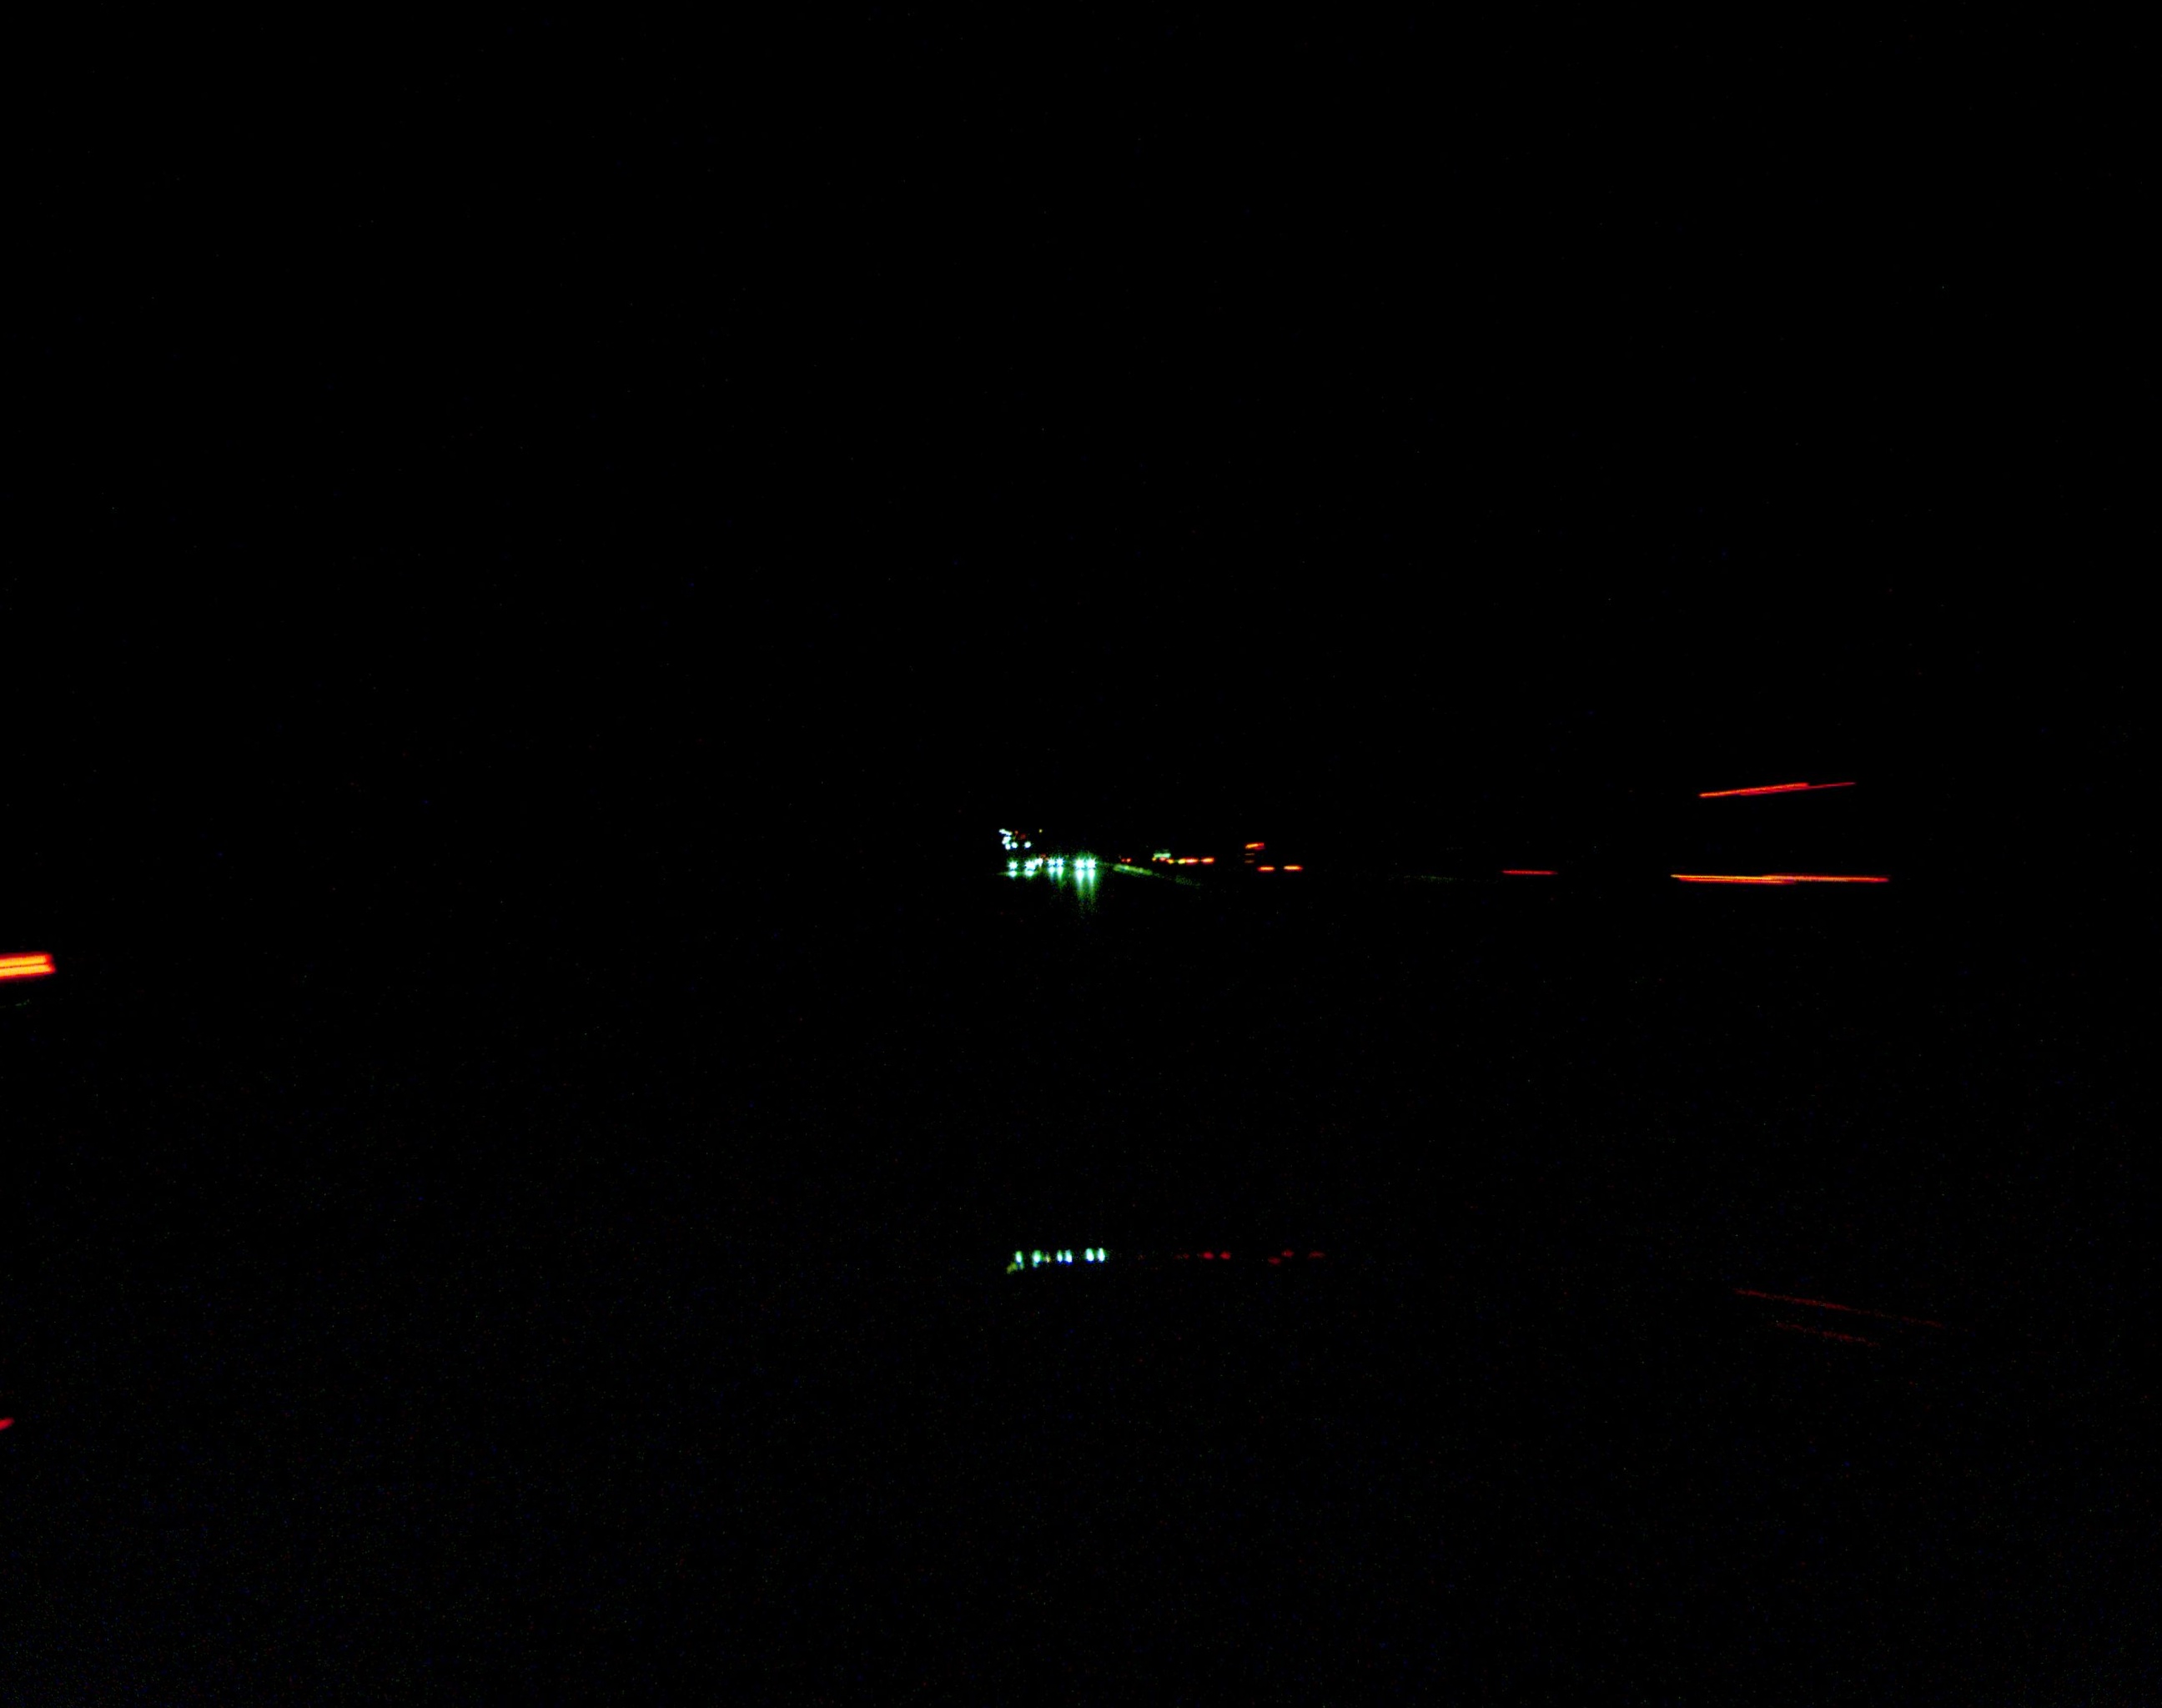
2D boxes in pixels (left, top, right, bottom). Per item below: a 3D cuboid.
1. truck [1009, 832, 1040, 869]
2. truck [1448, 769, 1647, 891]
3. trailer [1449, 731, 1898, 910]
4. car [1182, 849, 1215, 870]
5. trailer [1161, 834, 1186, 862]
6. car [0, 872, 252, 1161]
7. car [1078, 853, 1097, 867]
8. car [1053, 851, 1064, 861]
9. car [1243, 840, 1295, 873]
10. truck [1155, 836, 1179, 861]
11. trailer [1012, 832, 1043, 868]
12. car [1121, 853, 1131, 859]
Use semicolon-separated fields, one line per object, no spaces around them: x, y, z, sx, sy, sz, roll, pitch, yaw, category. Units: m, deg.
-7.140;-0.502;96.662;3.346;4.408;6.992;-2;1;-1;truck
17.268;-0.830;28.850;3.445;3.983;6.775;-2;1;2;truck
17.162;-0.835;24.802;3.445;3.983;14.759;-2;1;2;trailer
9.621;0.442;62.706;2.071;1.613;4.695;-1;0;1;car
15.633;-1.008;128.874;3.058;4.412;8.600;-1;0;0;trailer
-7.558;1.028;3.370;1.998;1.707;5.167;-1;0;1;car
0.827;0.732;92.958;2.011;1.652;4.001;-1;1;4;car
-3.928;0.384;134.643;1.939;1.608;3.999;-1;0;-1;car
13.616;0.144;55.567;2.057;2.185;6.966;-1;0;0;car
15.598;-0.998;138.432;3.058;4.412;10.422;-1;0;0;truck
-7.206;-0.565;104.156;3.346;4.408;13.574;-2;1;0;trailer
10.038;0.393;170.242;1.773;1.376;4.390;-1;0;-1;car
